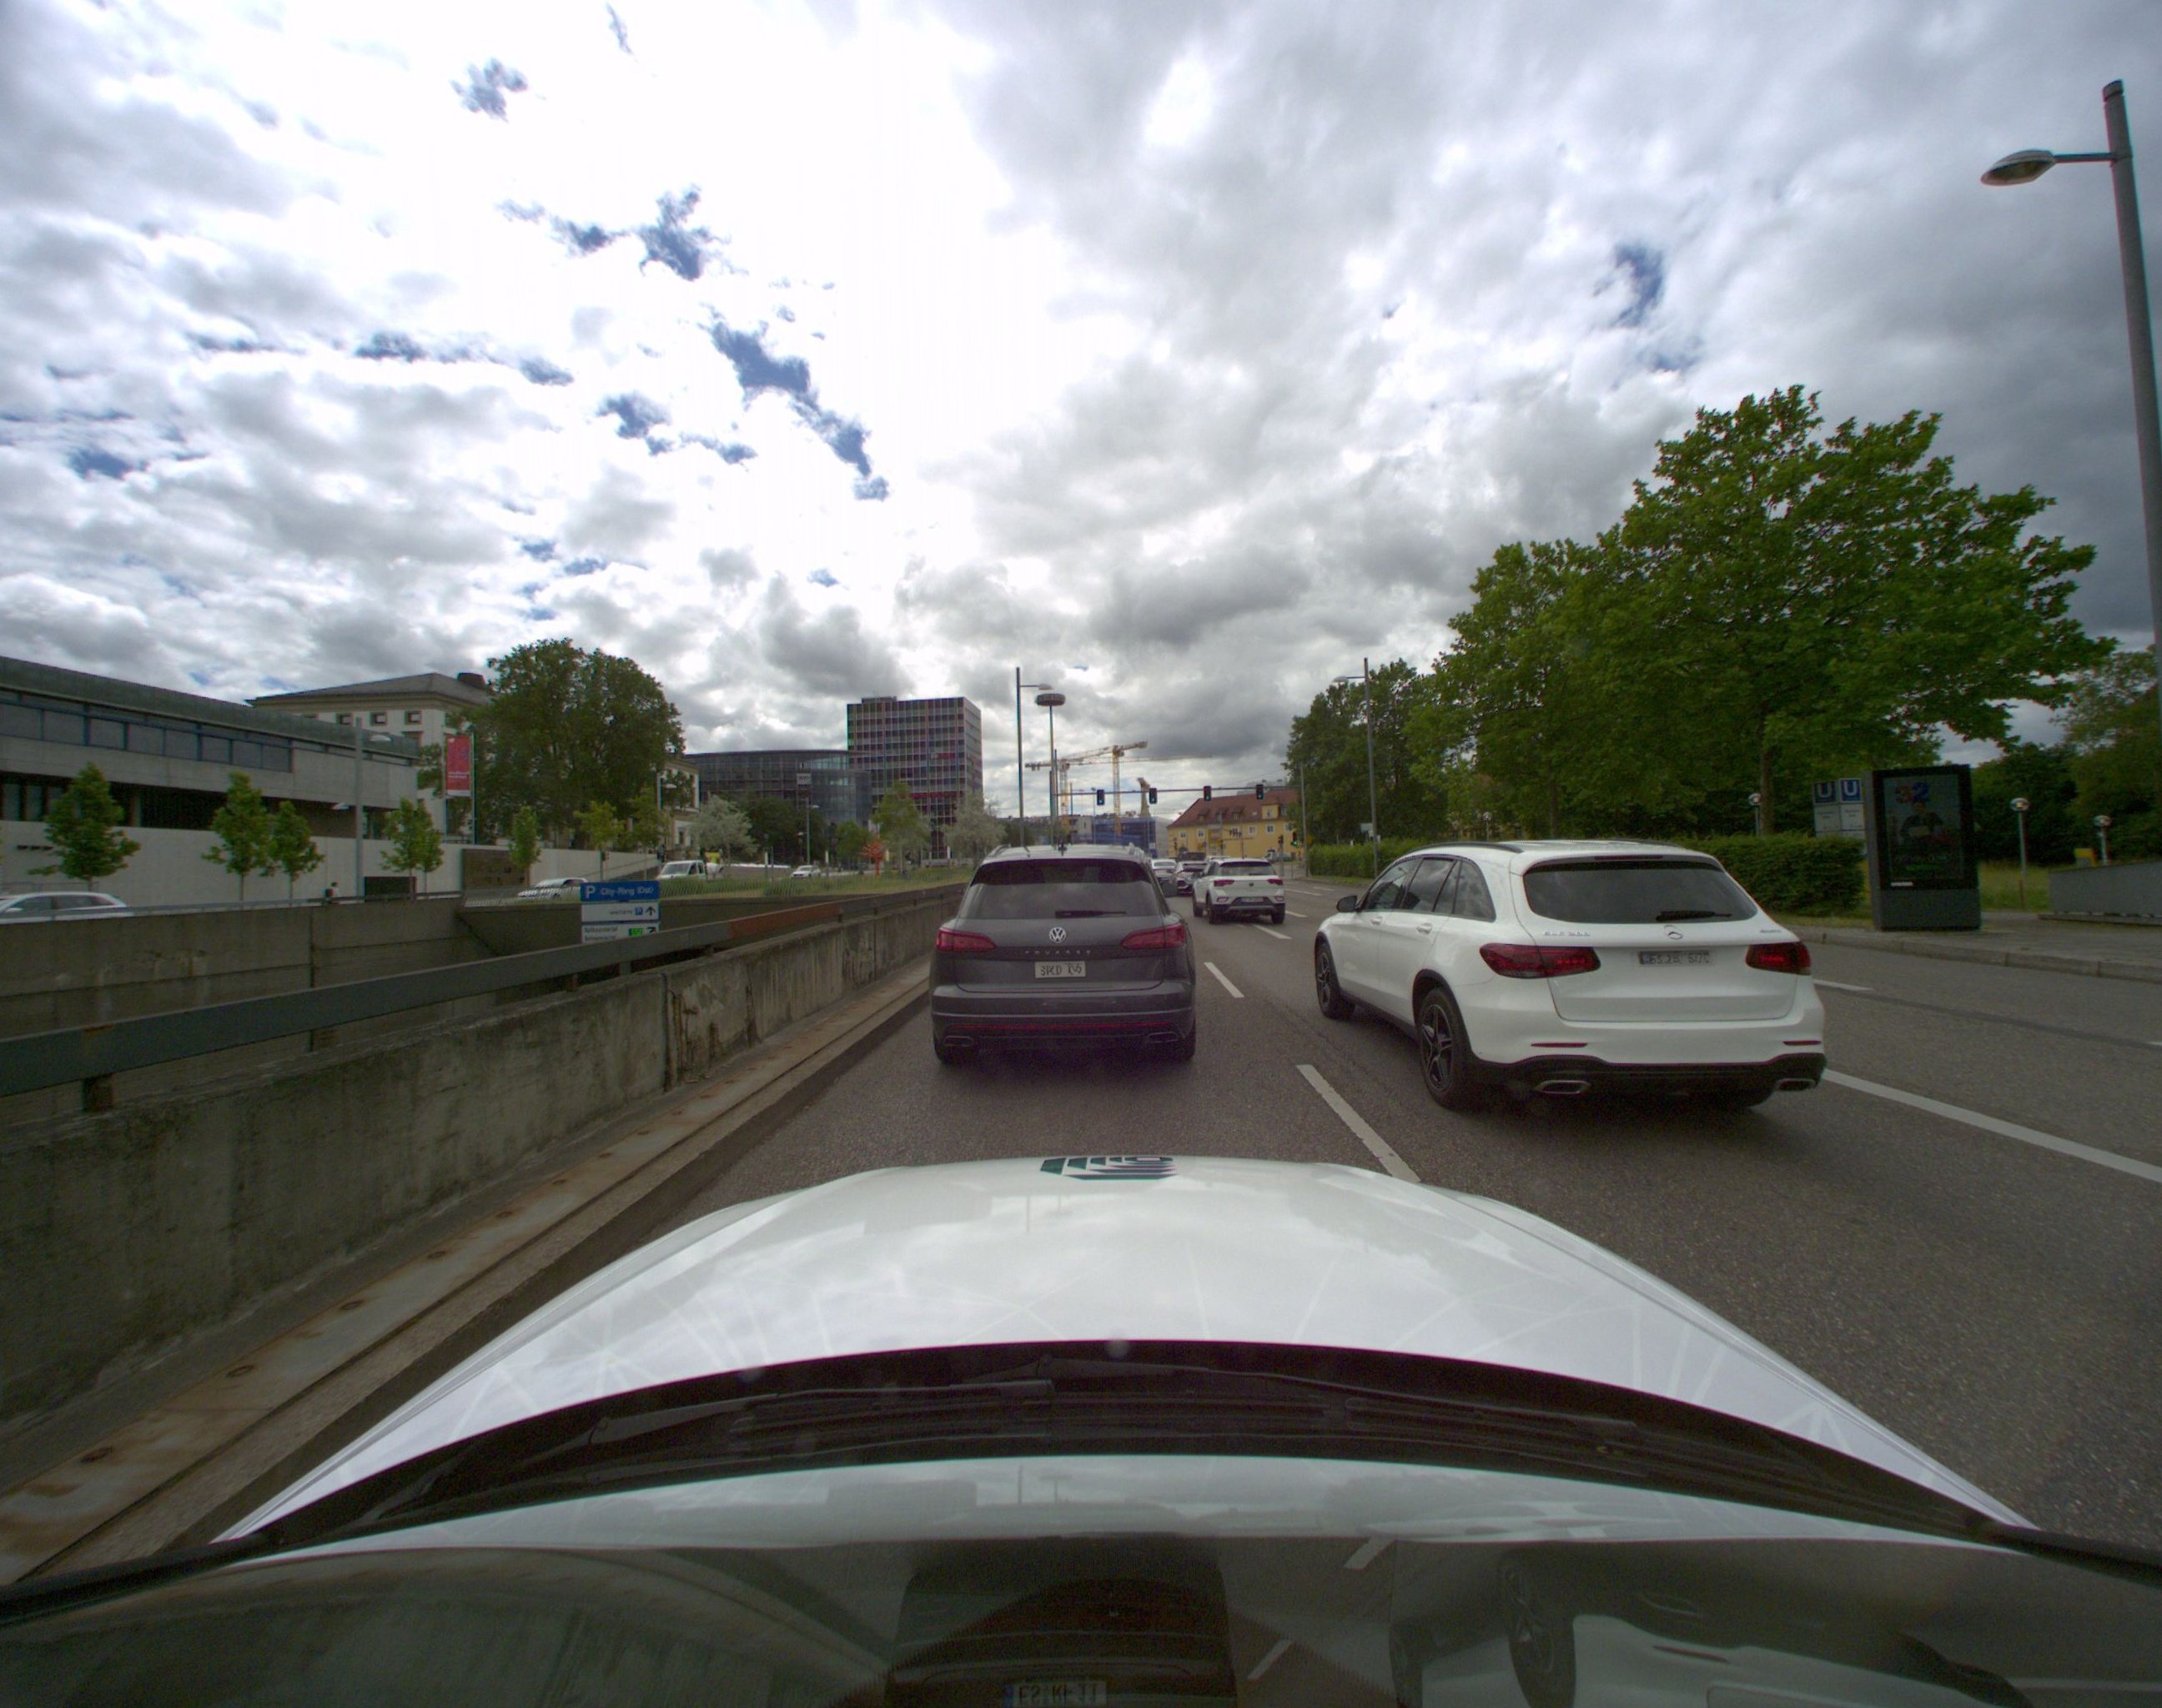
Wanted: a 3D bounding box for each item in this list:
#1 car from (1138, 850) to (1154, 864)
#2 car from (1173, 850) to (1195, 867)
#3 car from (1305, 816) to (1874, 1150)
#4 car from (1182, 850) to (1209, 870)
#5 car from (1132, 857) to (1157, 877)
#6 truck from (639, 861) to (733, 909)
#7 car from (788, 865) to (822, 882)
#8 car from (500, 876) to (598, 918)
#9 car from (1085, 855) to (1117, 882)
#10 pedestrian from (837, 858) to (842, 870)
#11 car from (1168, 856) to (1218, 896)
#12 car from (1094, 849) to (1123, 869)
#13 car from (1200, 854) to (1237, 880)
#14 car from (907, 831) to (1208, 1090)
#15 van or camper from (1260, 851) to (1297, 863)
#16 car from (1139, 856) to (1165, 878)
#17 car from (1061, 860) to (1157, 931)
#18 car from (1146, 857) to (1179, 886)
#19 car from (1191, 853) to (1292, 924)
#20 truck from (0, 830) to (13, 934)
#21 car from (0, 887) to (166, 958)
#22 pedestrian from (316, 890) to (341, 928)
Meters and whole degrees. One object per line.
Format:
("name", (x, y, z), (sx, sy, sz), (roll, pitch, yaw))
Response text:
("car", (9.449, 0.460, 118.617), (1.986, 2.013, 4.002), (-1, 0, 2))
("car", (9.570, 0.399, 75.622), (1.712, 1.502, 3.984), (-1, 0, 3))
("car", (3.133, 0.646, 6.263), (1.811, 1.647, 4.382), (-1, 0, 3))
("car", (8.985, 0.451, 64.248), (1.712, 1.502, 3.984), (-1, 0, 3))
("car", (5.633, 1.168, 72.829), (2.129, 1.728, 4.075), (-1, -1, 4))
("truck", (-26.186, 1.977, 54.411), (2.453, 2.816, 7.084), (-1, 0, 3))
("car", (-28.472, 2.008, 84.162), (1.712, 1.574, 4.616), (-1, 0, 3))
("car", (-26.657, 2.124, 40.994), (1.986, 1.816, 4.260), (-1, 0, 2))
("car", (1.194, 0.806, 47.678), (1.807, 1.496, 3.908), (-1, 0, 2))
("pedestrian", (-34.387, 1.385, 116.156), (0.522, 1.649, 0.650), (0, -1, 0))
("car", (4.646, 0.876, 34.274), (1.712, 1.502, 4.147), (-1, 0, 3))
("car", (2.231, 0.383, 65.184), (2.235, 1.502, 4.615), (-1, 0, 3))
("car", (8.344, 0.746, 49.776), (1.795, 1.502, 3.984), (-1, 0, 3))
("car", (-0.089, 0.686, 7.272), (1.925, 1.647, 4.002), (-1, 0, 2))
("van or camper", (34.299, 0.480, 141.659), (5.947, 2.014, 2.032), (-2, -1, 37))
("car", (5.140, 0.892, 59.172), (1.712, 1.502, 3.984), (-1, 0, 3))
("car", (0.657, 0.891, 19.191), (1.986, 1.387, 4.002), (-1, 0, 2))
("car", (4.546, 0.963, 45.508), (1.711, 1.502, 3.987), (-1, 0, 5))
("car", (3.872, 0.779, 20.290), (1.886, 1.585, 3.803), (-1, 0, 2))
("truck", (-30.800, 0.819, 18.557), (3.220, 2.787, 7.254), (-1, 0, 1))
("car", (-27.036, 1.751, 21.076), (1.712, 1.574, 4.274), (-1, 0, 3))
("pedestrian", (-34.771, 2.537, 37.634), (0.538, 1.733, 0.664), (-1, 0, 1))
